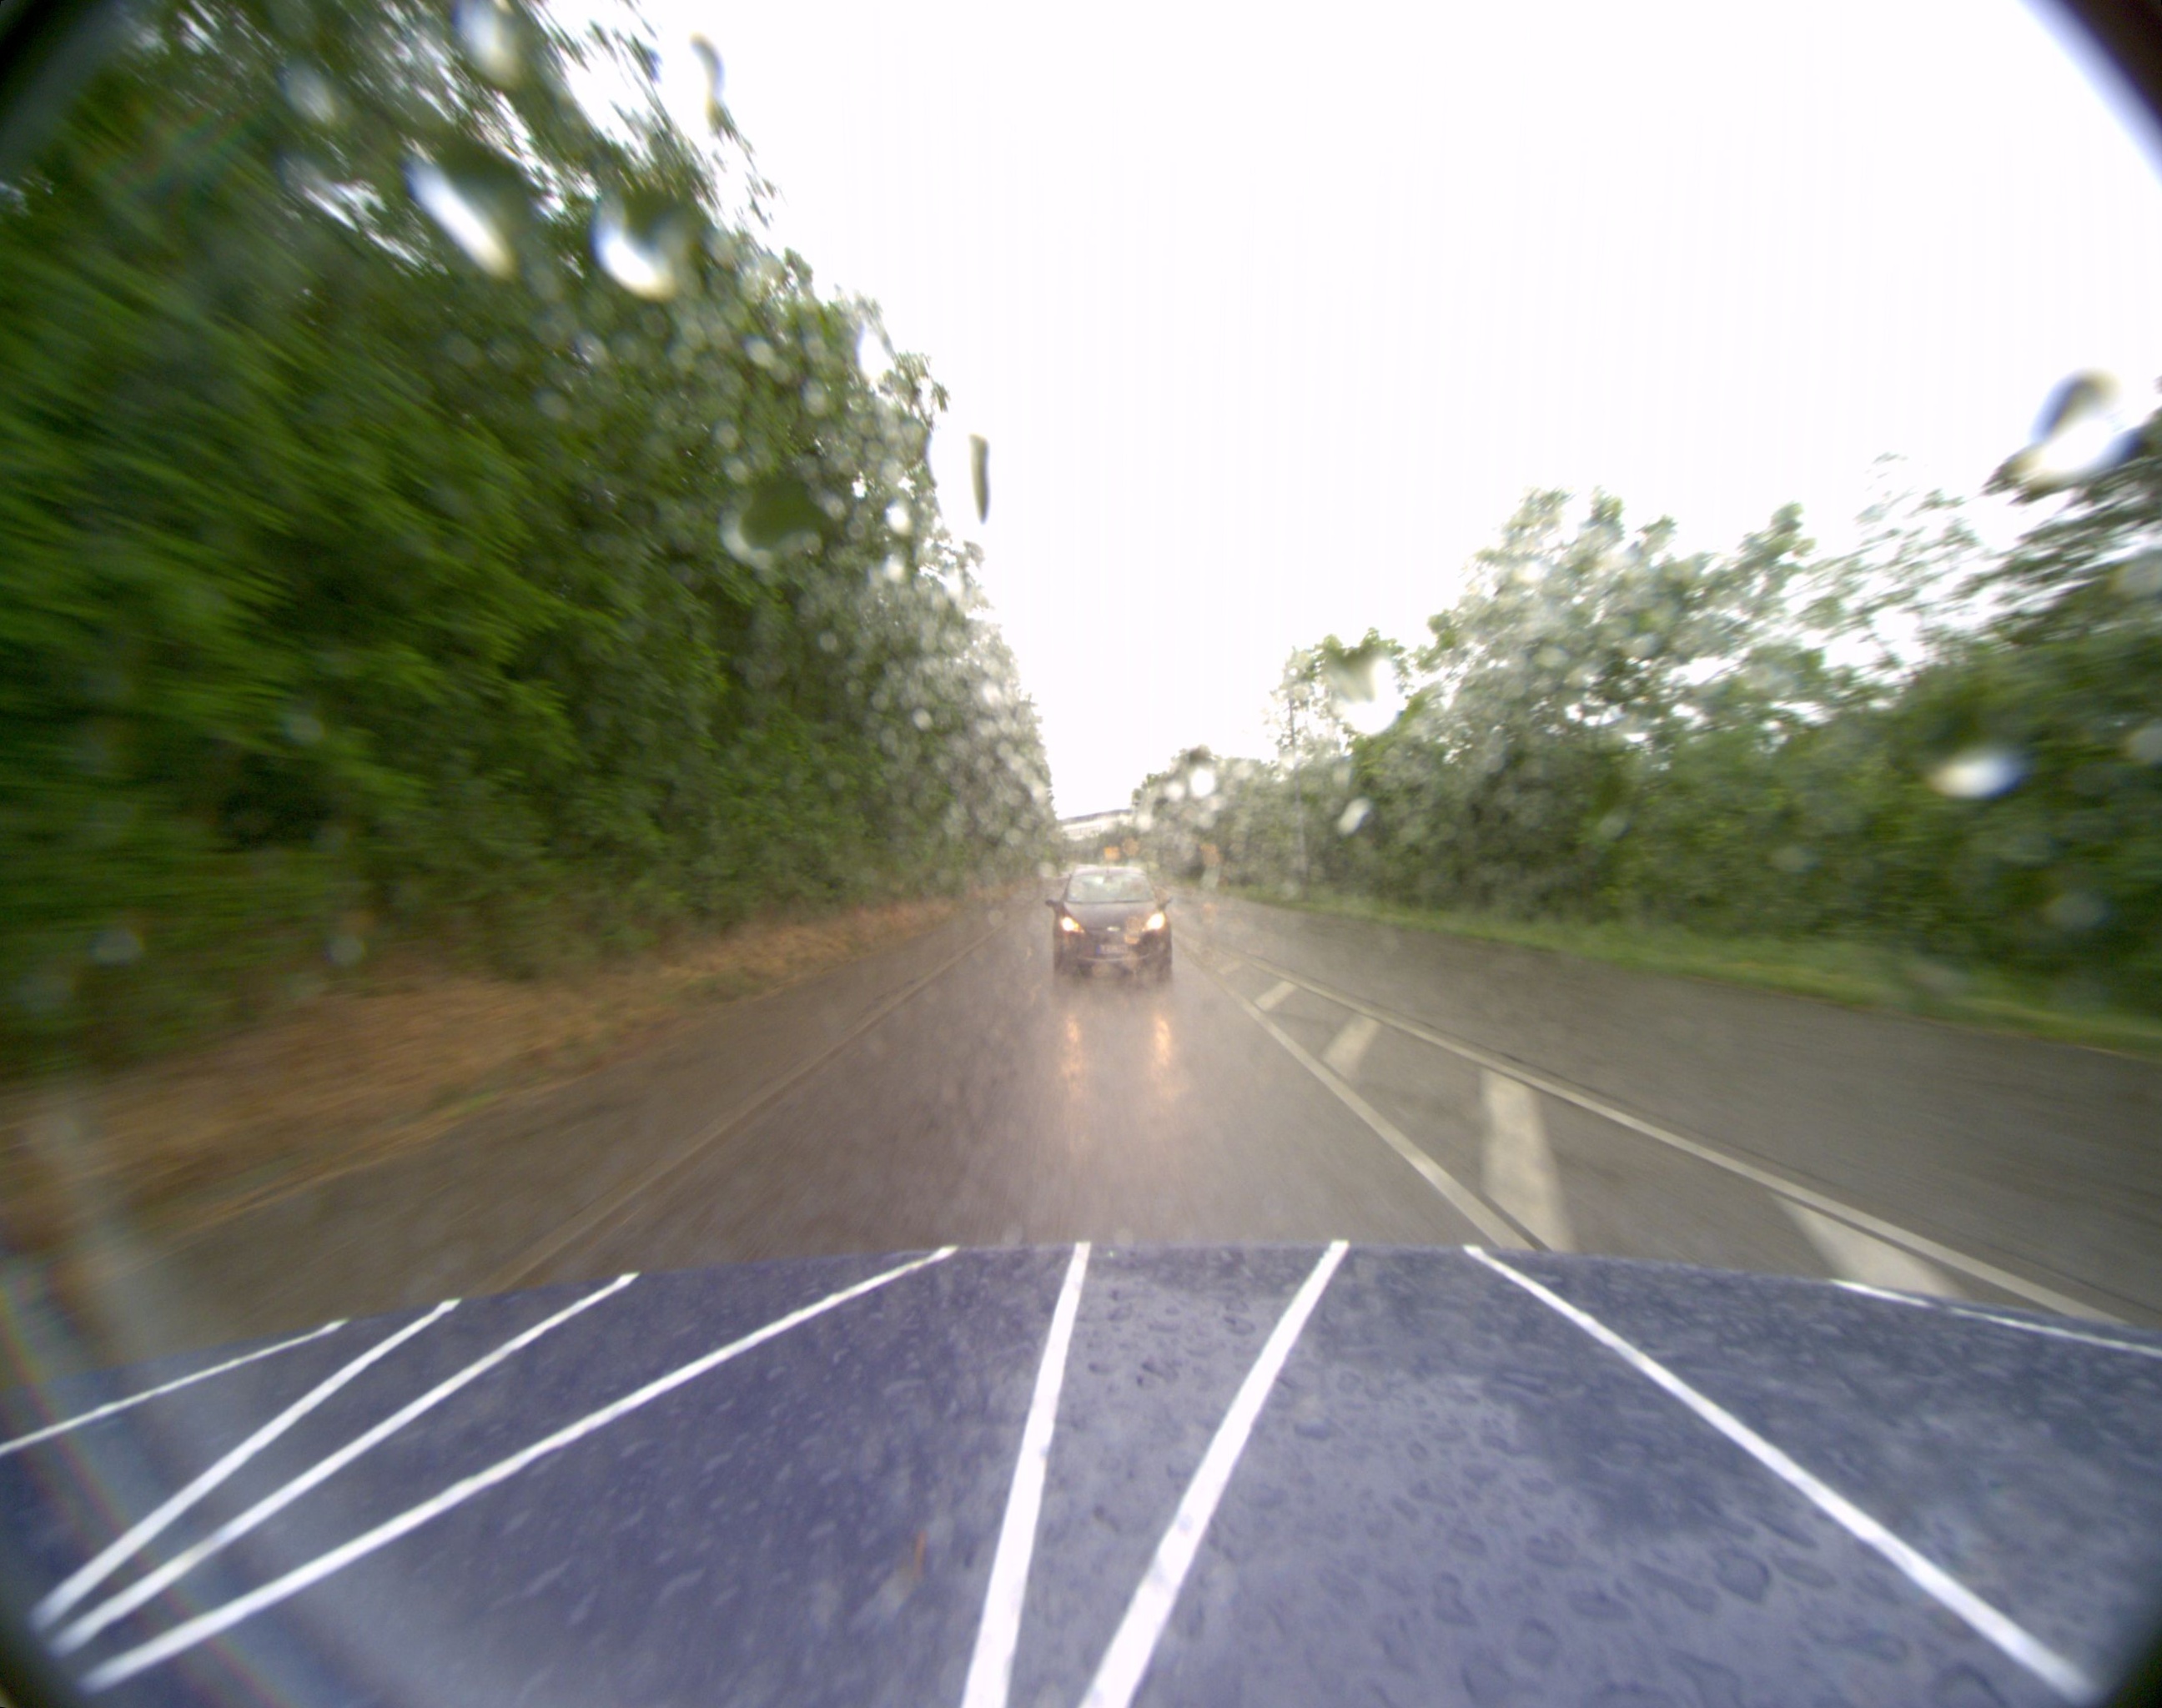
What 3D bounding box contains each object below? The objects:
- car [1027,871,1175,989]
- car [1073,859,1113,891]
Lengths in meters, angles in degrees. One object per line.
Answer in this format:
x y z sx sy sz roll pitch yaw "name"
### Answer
0.227 1.049 12.182 1.874 1.432 4.378 -3 -1 -1 "car"
0.572 1.056 38.887 1.874 1.432 4.378 -3 -1 -1 "car"
